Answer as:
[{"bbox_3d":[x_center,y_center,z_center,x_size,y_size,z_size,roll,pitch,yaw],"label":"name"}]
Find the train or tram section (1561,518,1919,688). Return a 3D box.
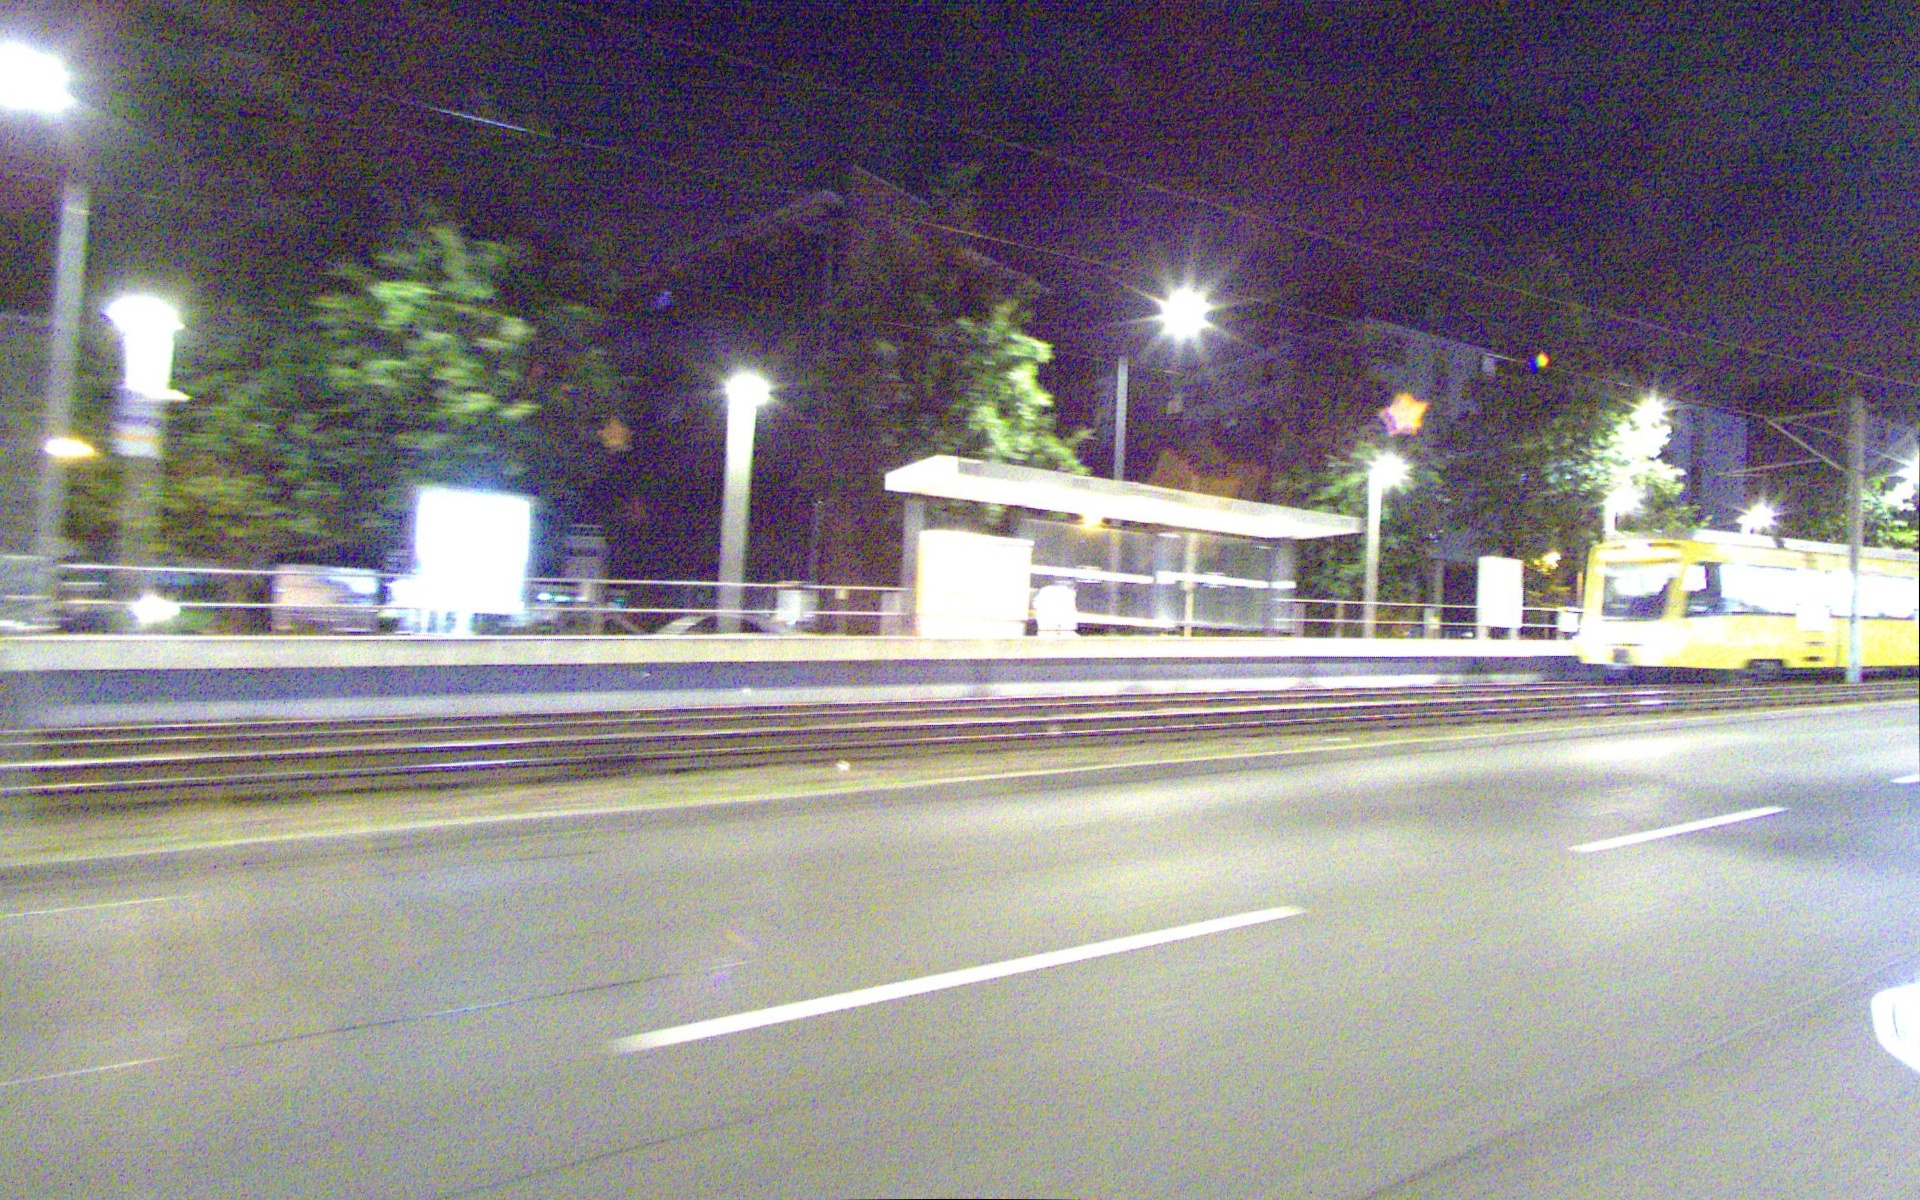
[{"bbox_3d":[24.239,0.282,28.792,19.124,3.897,2.727,1,0,-29],"label":"train or tram section"}]

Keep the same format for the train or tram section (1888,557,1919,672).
[{"bbox_3d":[40.711,0.687,37.890,18.442,3.878,2.747,1,0,-29],"label":"train or tram section"}]
